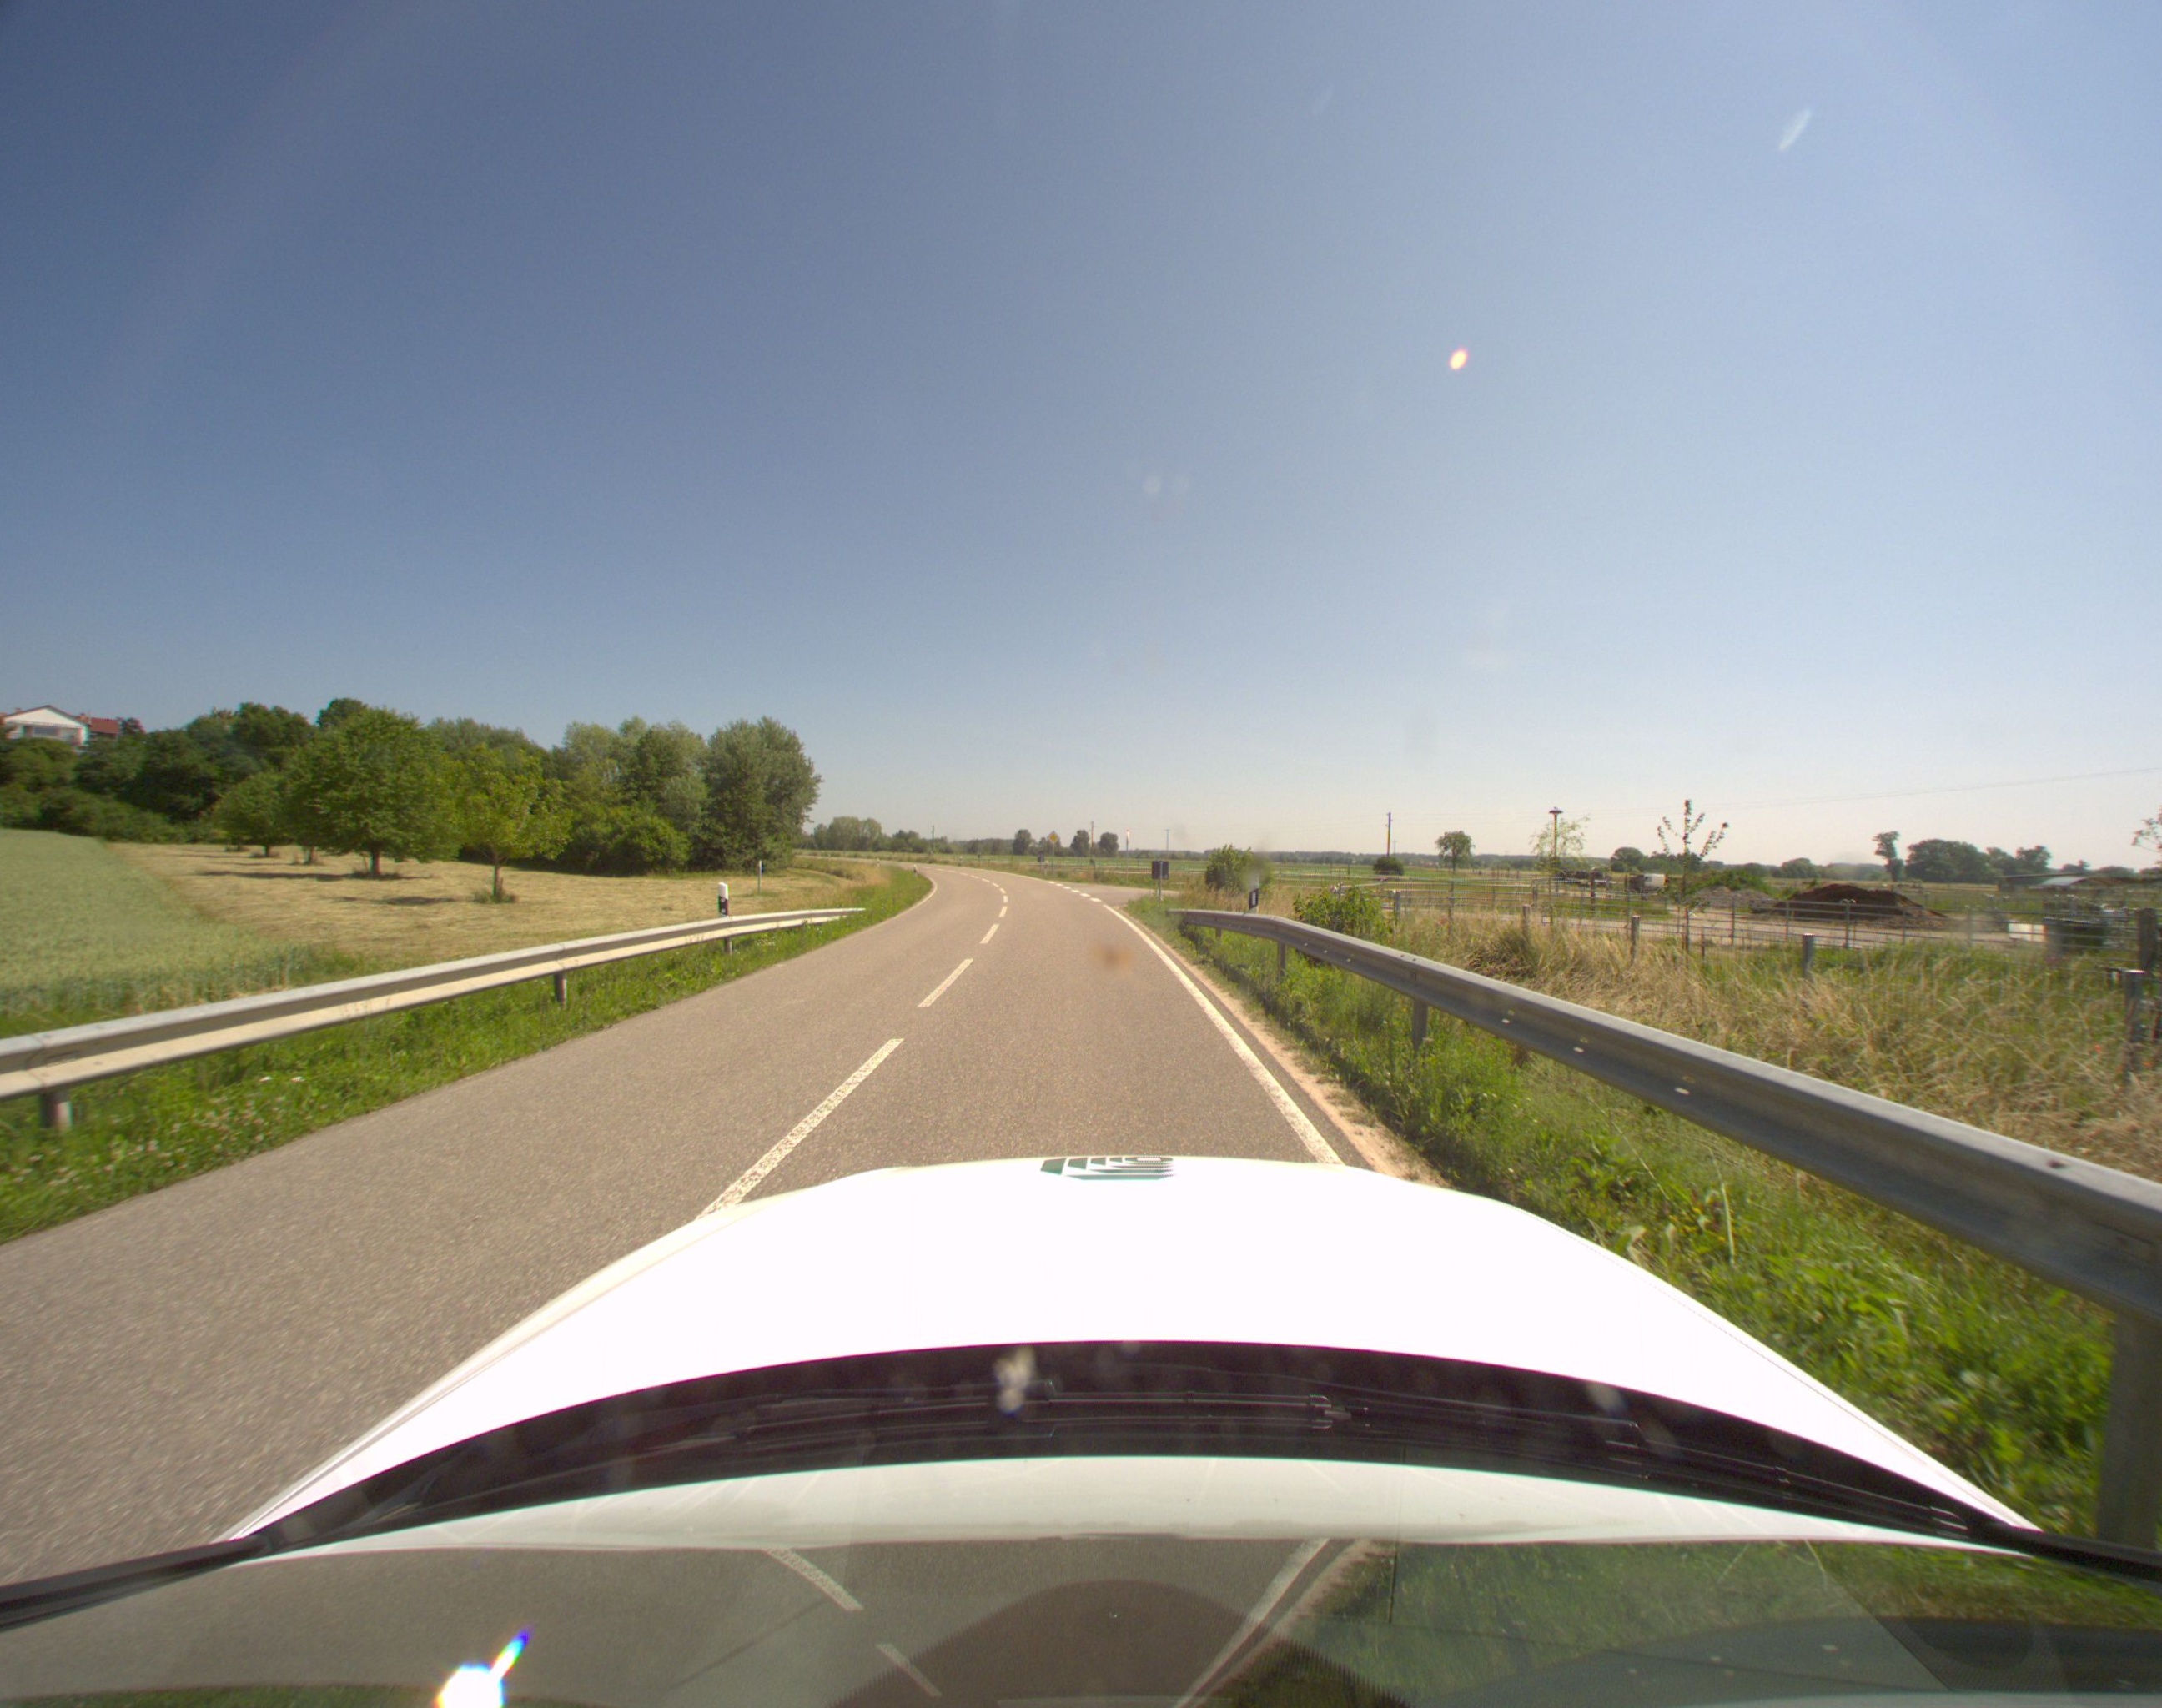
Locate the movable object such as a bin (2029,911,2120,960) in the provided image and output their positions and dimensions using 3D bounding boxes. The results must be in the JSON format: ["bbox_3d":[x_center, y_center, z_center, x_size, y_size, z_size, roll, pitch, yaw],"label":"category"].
[{"bbox_3d":[31.368,2.549,25.758,1.356,1.349,1.526,2,-1,30],"label":"movable object such as a bin"}]
